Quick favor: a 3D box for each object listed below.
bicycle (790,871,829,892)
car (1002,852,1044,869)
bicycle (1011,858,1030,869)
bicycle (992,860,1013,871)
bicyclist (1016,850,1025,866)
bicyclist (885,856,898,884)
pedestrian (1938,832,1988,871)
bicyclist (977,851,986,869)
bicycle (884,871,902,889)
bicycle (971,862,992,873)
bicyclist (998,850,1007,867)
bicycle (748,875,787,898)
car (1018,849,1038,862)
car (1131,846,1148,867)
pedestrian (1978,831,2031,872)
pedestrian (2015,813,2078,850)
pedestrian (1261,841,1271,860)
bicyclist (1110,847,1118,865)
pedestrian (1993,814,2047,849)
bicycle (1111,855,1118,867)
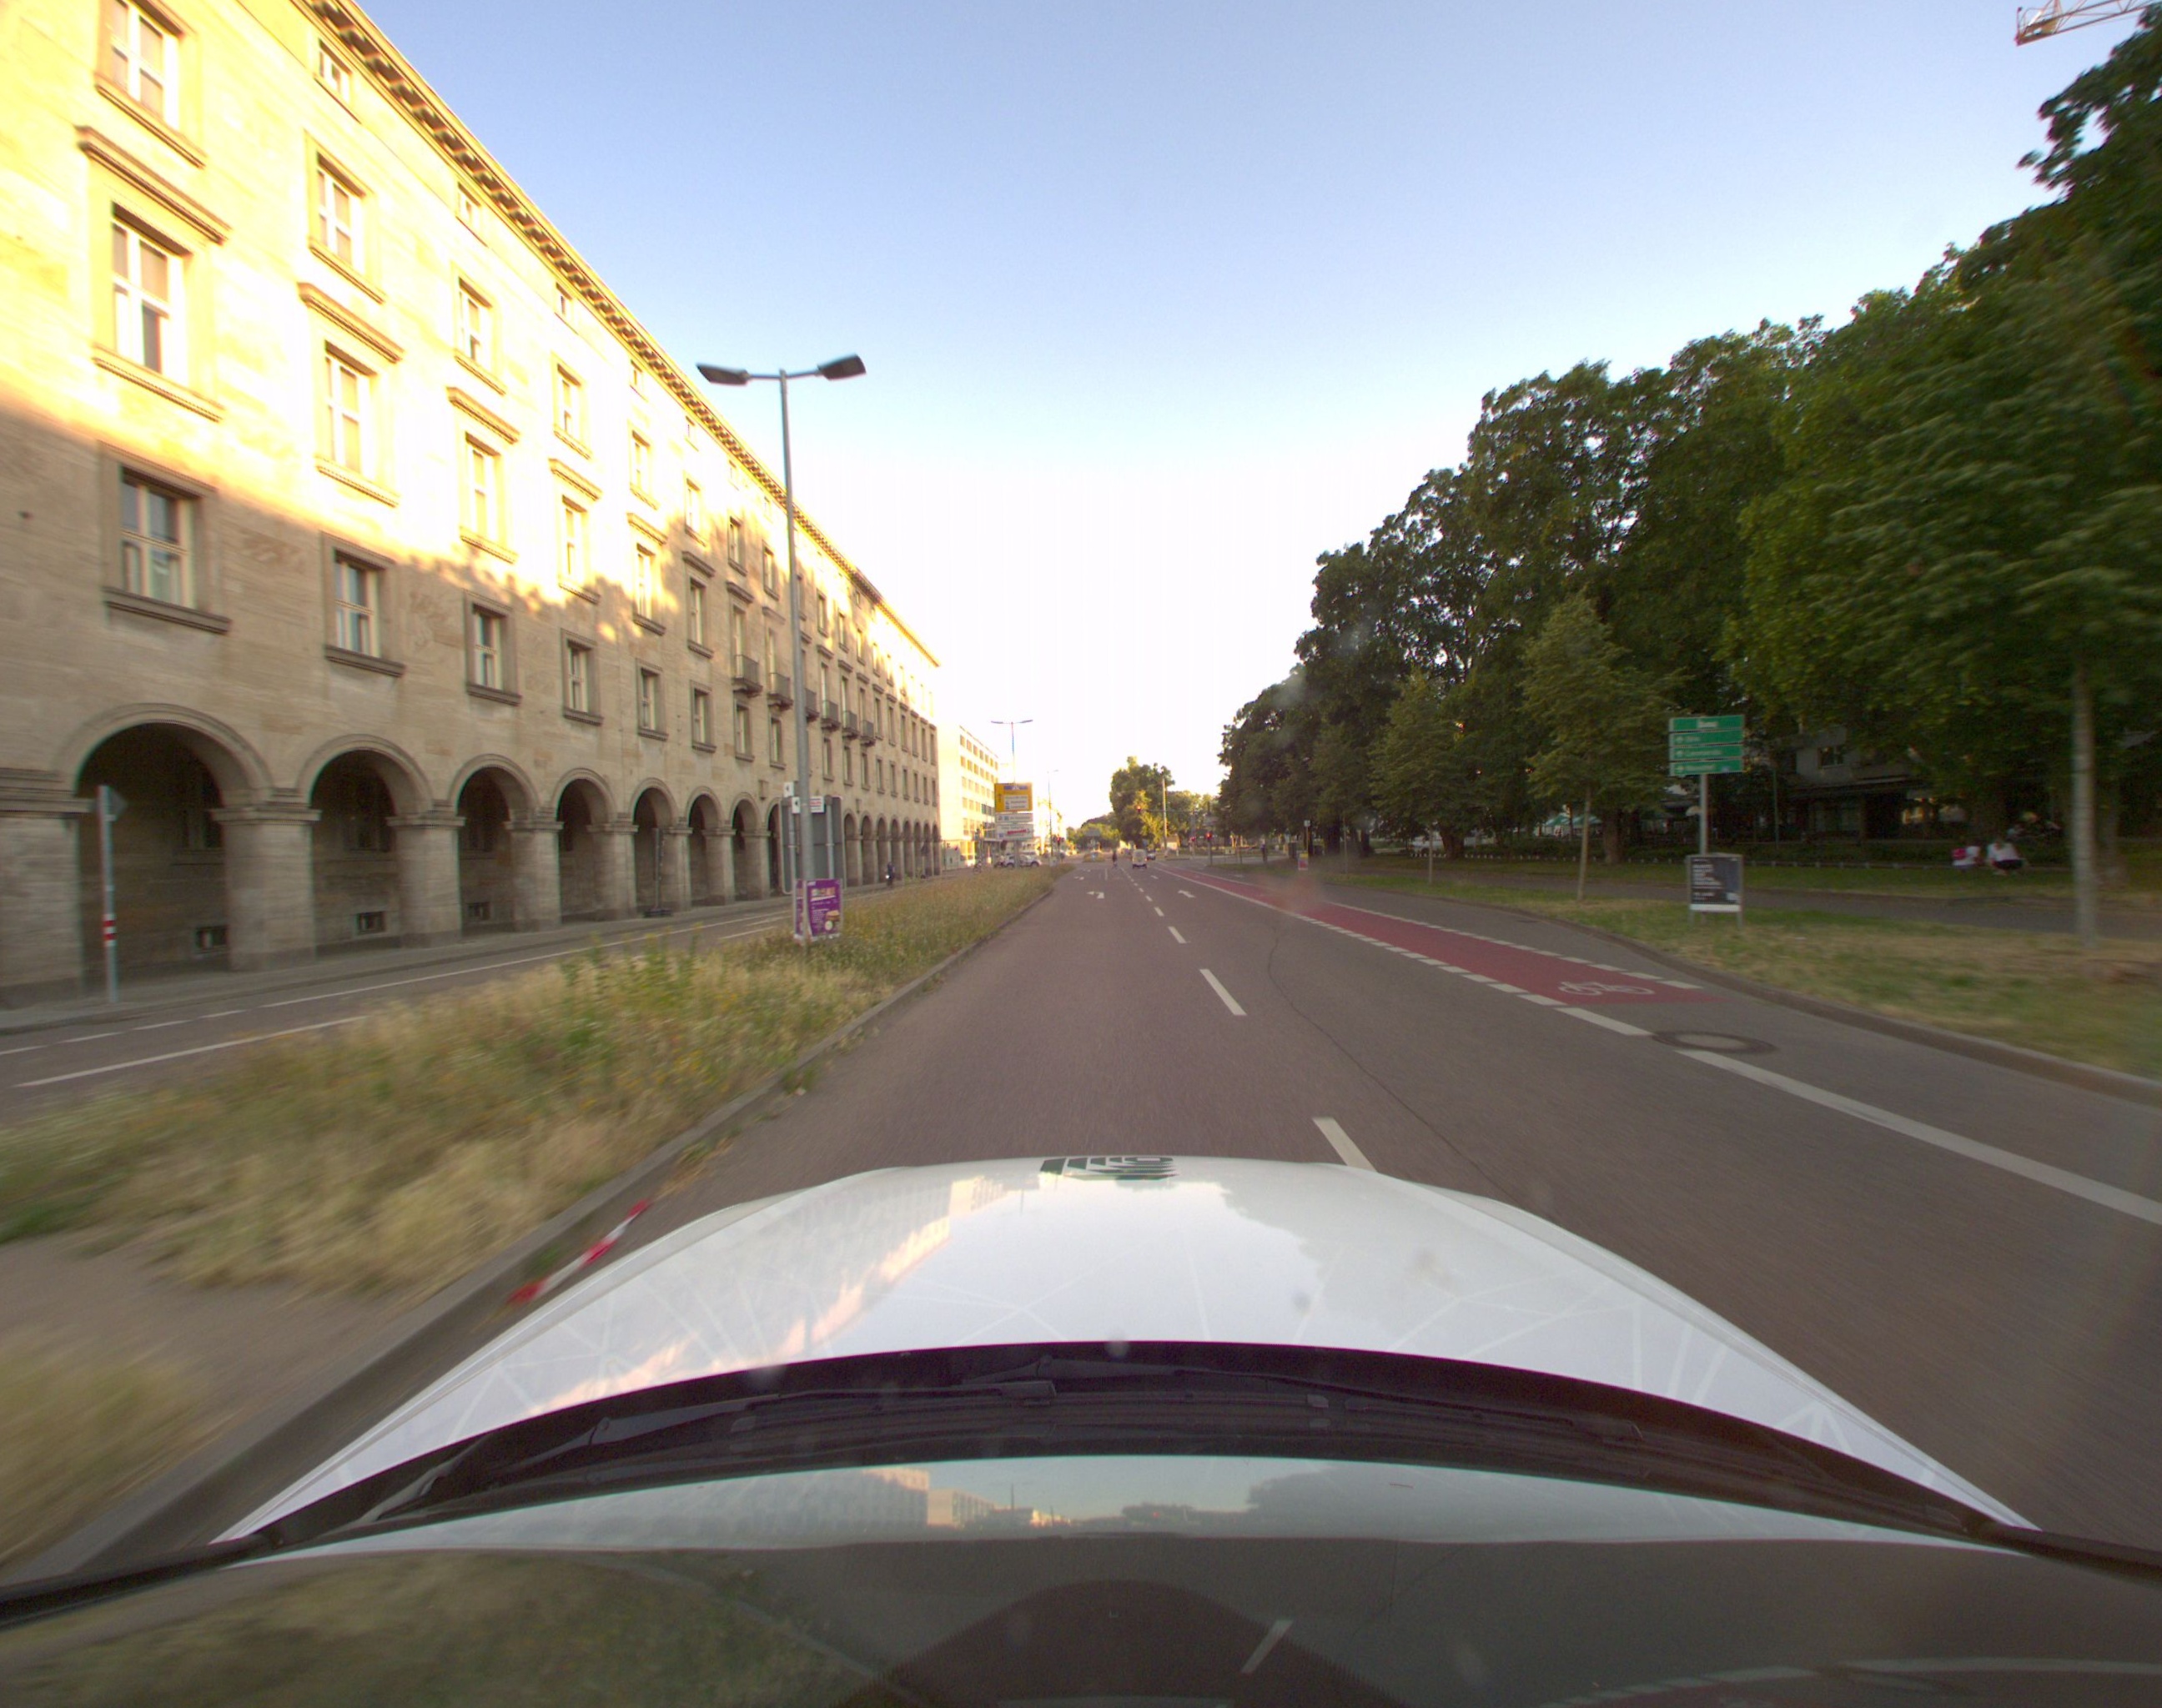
[{"bbox_3d":[-14.616,1.477,43.920,0.472,1.005,2.018,-3,0,37],"label":"bicycle"},{"bbox_3d":[-6.412,0.677,89.425,4.529,1.648,1.995,-3,0,-7],"label":"car"},{"bbox_3d":[-6.401,0.973,85.898,1.888,1.069,0.732,-3,0,4],"label":"bicycle"},{"bbox_3d":[-7.867,1.147,81.619,2.054,1.069,0.785,-3,0,-5],"label":"bicycle"},{"bbox_3d":[-6.392,0.423,85.905,0.743,1.693,0.716,-3,0,4],"label":"bicyclist"},{"bbox_3d":[-11.669,0.957,50.253,0.534,1.693,0.749,-3,0,2],"label":"bicyclist"},{"bbox_3d":[20.846,-0.062,19.254,0.682,0.884,0.588,-2,0,-23],"label":"pedestrian"},{"bbox_3d":[-9.823,0.582,80.396,0.746,1.693,0.713,-3,0,-8],"label":"bicyclist"},{"bbox_3d":[-11.655,1.586,50.508,0.539,1.005,2.005,-3,0,1],"label":"bicycle"},{"bbox_3d":[-9.773,1.335,80.384,2.013,1.069,0.729,-3,0,-7],"label":"bicycle"},{"bbox_3d":[-7.863,0.474,81.615,0.745,1.693,0.764,-3,0,-5],"label":"bicyclist"},{"bbox_3d":[-14.958,1.546,38.884,0.473,1.005,2.015,-3,0,20],"label":"bicycle"},{"bbox_3d":[-10.726,0.351,165.010,2.161,2.385,6.010,-3,-2,13],"label":"car"},{"bbox_3d":[5.421,0.195,75.377,1.453,1.780,2.567,-2,1,4],"label":"car"},{"bbox_3d":[21.147,-0.063,18.655,0.682,0.884,0.619,-2,2,-23],"label":"pedestrian"},{"bbox_3d":[35.143,-0.808,29.655,1.126,1.260,0.906,-3,0,4],"label":"pedestrian"},{"bbox_3d":[17.321,-0.339,76.317,0.693,1.693,0.748,-3,0,0],"label":"pedestrian"},{"bbox_3d":[3.090,0.200,75.677,0.626,1.693,0.748,-3,0,1],"label":"bicyclist"},{"bbox_3d":[35.268,-0.827,30.604,1.126,1.260,0.726,-3,0,4],"label":"pedestrian"},{"bbox_3d":[3.126,0.620,75.992,0.635,1.069,2.070,-1,0,2],"label":"bicycle"}]
